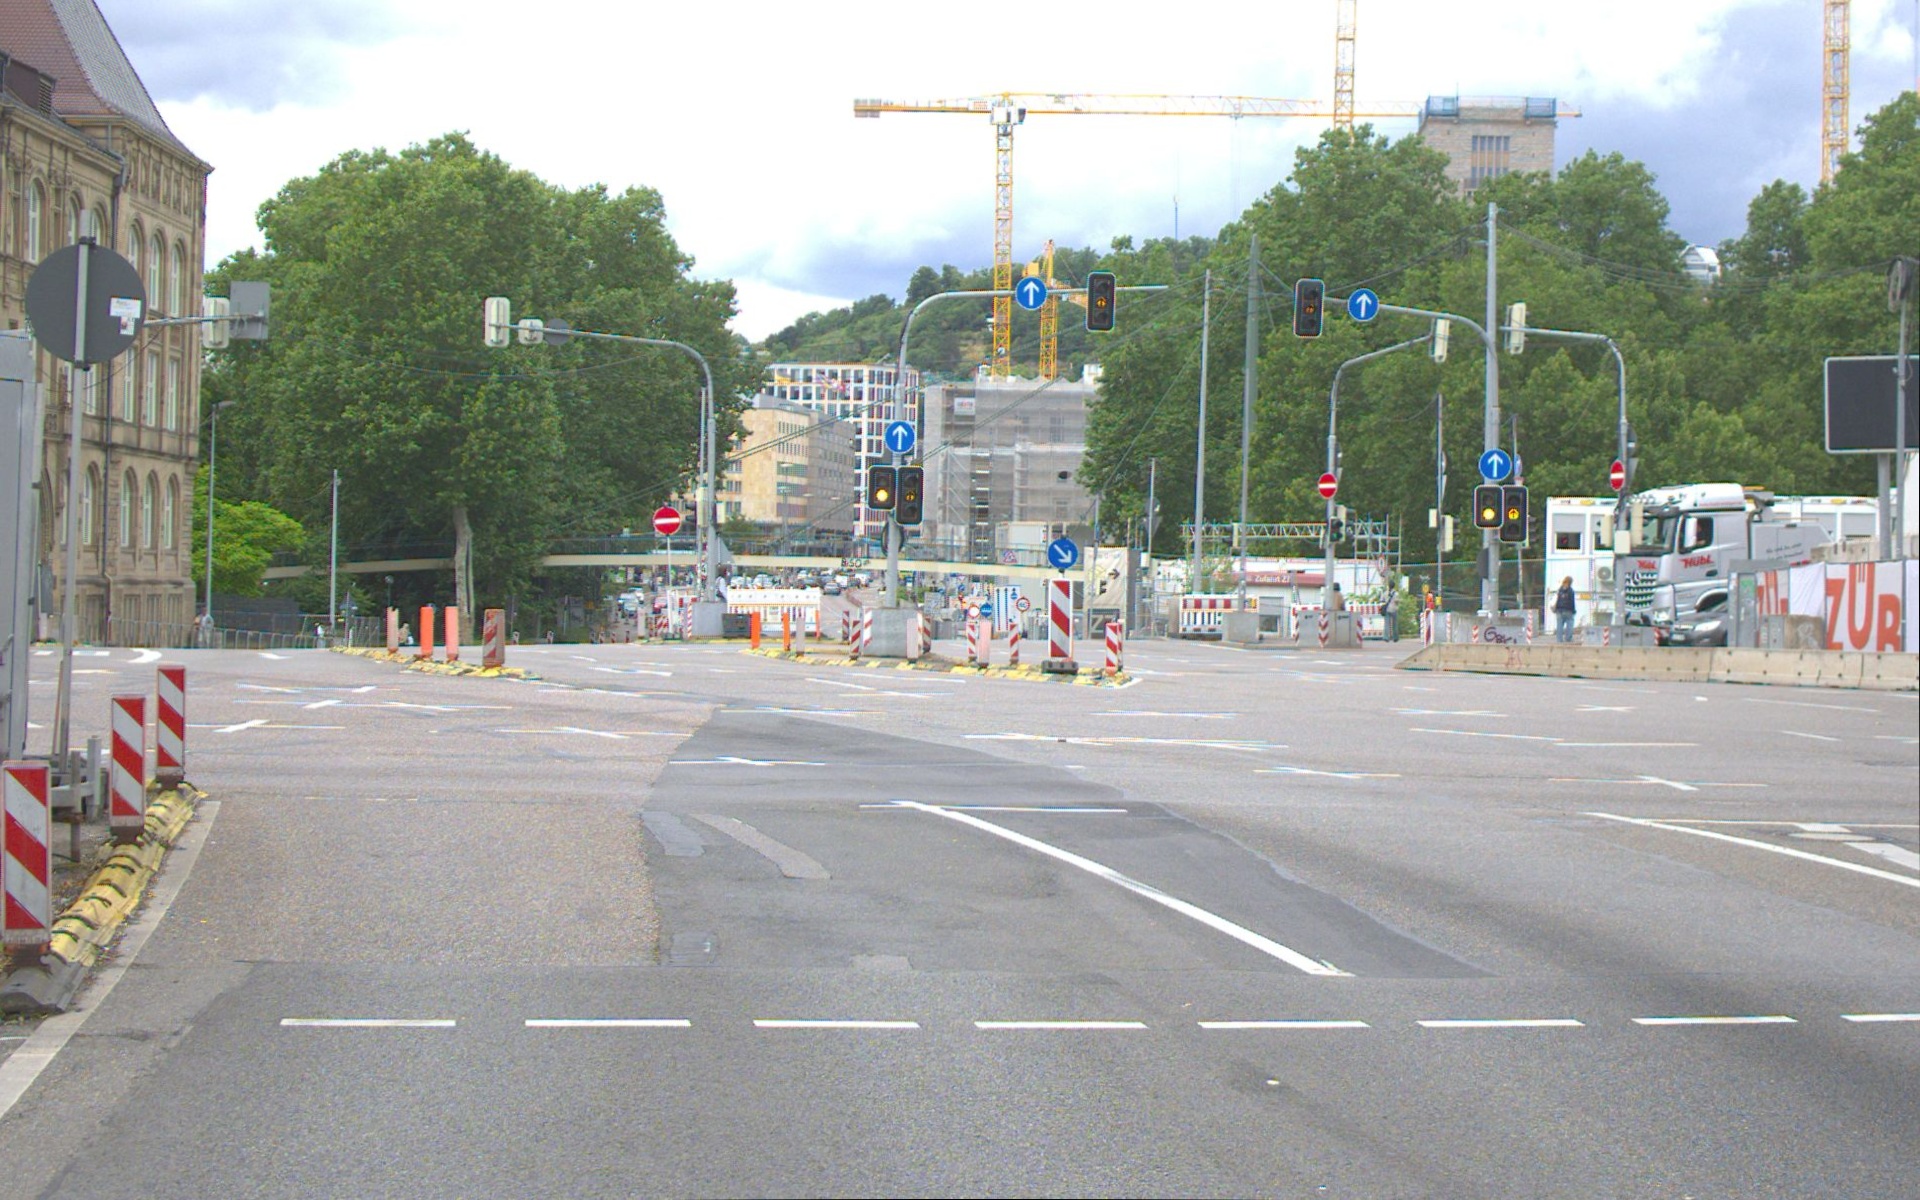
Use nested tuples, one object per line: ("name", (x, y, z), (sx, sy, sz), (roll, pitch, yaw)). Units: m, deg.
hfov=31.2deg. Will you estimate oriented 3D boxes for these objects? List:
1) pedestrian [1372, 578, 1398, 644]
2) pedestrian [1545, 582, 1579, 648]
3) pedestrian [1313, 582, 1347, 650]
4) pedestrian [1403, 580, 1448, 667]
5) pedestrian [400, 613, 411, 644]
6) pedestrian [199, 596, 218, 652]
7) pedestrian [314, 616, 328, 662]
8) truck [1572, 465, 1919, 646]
("pedestrian", (10.911, 0.281, 88.258), (0.566, 1.683, 0.472), (1, 1, -1))
("pedestrian", (15.478, 0.382, 88.406), (0.622, 1.683, 0.710), (2, 1, 29))
("pedestrian", (9.435, 0.408, 87.727), (0.729, 1.683, 0.678), (1, 1, -1))
("pedestrian", (9.135, 0.455, 67.482), (0.729, 1.683, 0.678), (1, 1, -1))
("pedestrian", (-28.848, 1.468, 178.849), (0.536, 1.587, 0.516), (1, 1, -4))
("pedestrian", (-26.993, 0.856, 123.479), (0.524, 2.007, 0.567), (1, 1, 0))
("pedestrian", (-28.631, 1.740, 154.066), (0.524, 2.007, 0.567), (1, 1, 0))
("truck", (21.363, -0.999, 82.008), (13.022, 4.027, 3.952), (1, 1, -20))
